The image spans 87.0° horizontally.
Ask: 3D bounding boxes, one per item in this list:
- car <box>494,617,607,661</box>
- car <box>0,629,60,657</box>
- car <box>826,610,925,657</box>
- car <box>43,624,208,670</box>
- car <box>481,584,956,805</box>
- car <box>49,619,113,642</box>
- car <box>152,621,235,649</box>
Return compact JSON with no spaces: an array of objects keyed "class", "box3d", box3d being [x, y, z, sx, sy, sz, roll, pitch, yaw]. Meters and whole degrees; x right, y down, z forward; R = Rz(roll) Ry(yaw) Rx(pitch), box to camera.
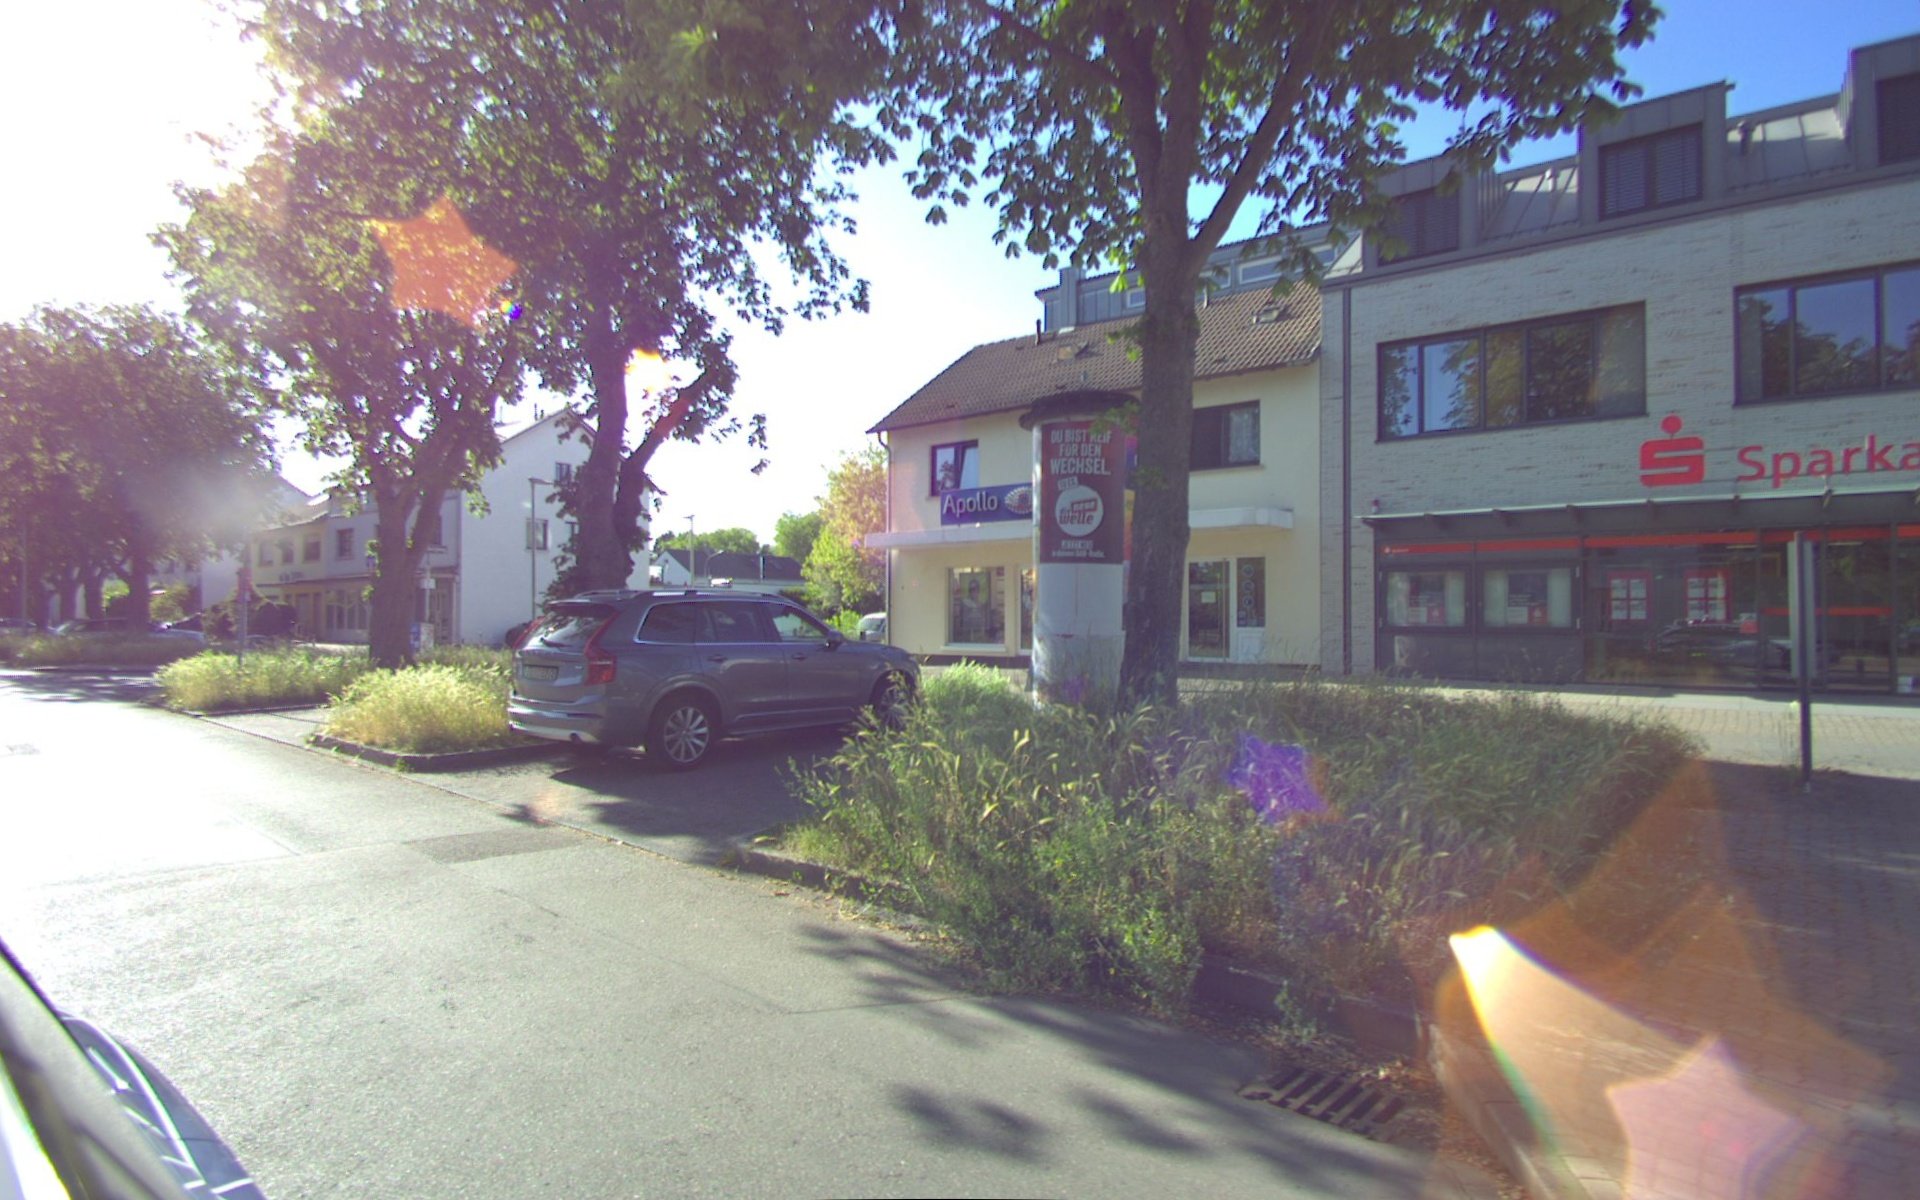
[{"class":"car","box3d":[-16.658,1.528,41.081,4.901,1.575,1.975,1,0,37]},{"class":"car","box3d":[-51.002,2.321,54.397,1.622,1.333,3.652,-1,1,36]},{"class":"car","box3d":[-3.541,1.386,42.920,1.998,1.844,3.948,-1,-1,38]},{"class":"car","box3d":[-30.263,1.646,36.796,1.999,1.426,4.337,-1,0,40]},{"class":"car","box3d":[-2.375,0.799,11.338,1.997,1.740,5.014,-1,2,37]},{"class":"car","box3d":[-76.705,2.660,88.367,1.999,1.696,3.946,-1,2,41]},{"class":"car","box3d":[-45.750,2.084,60.427,1.692,1.577,3.722,-1,-2,45]}]
